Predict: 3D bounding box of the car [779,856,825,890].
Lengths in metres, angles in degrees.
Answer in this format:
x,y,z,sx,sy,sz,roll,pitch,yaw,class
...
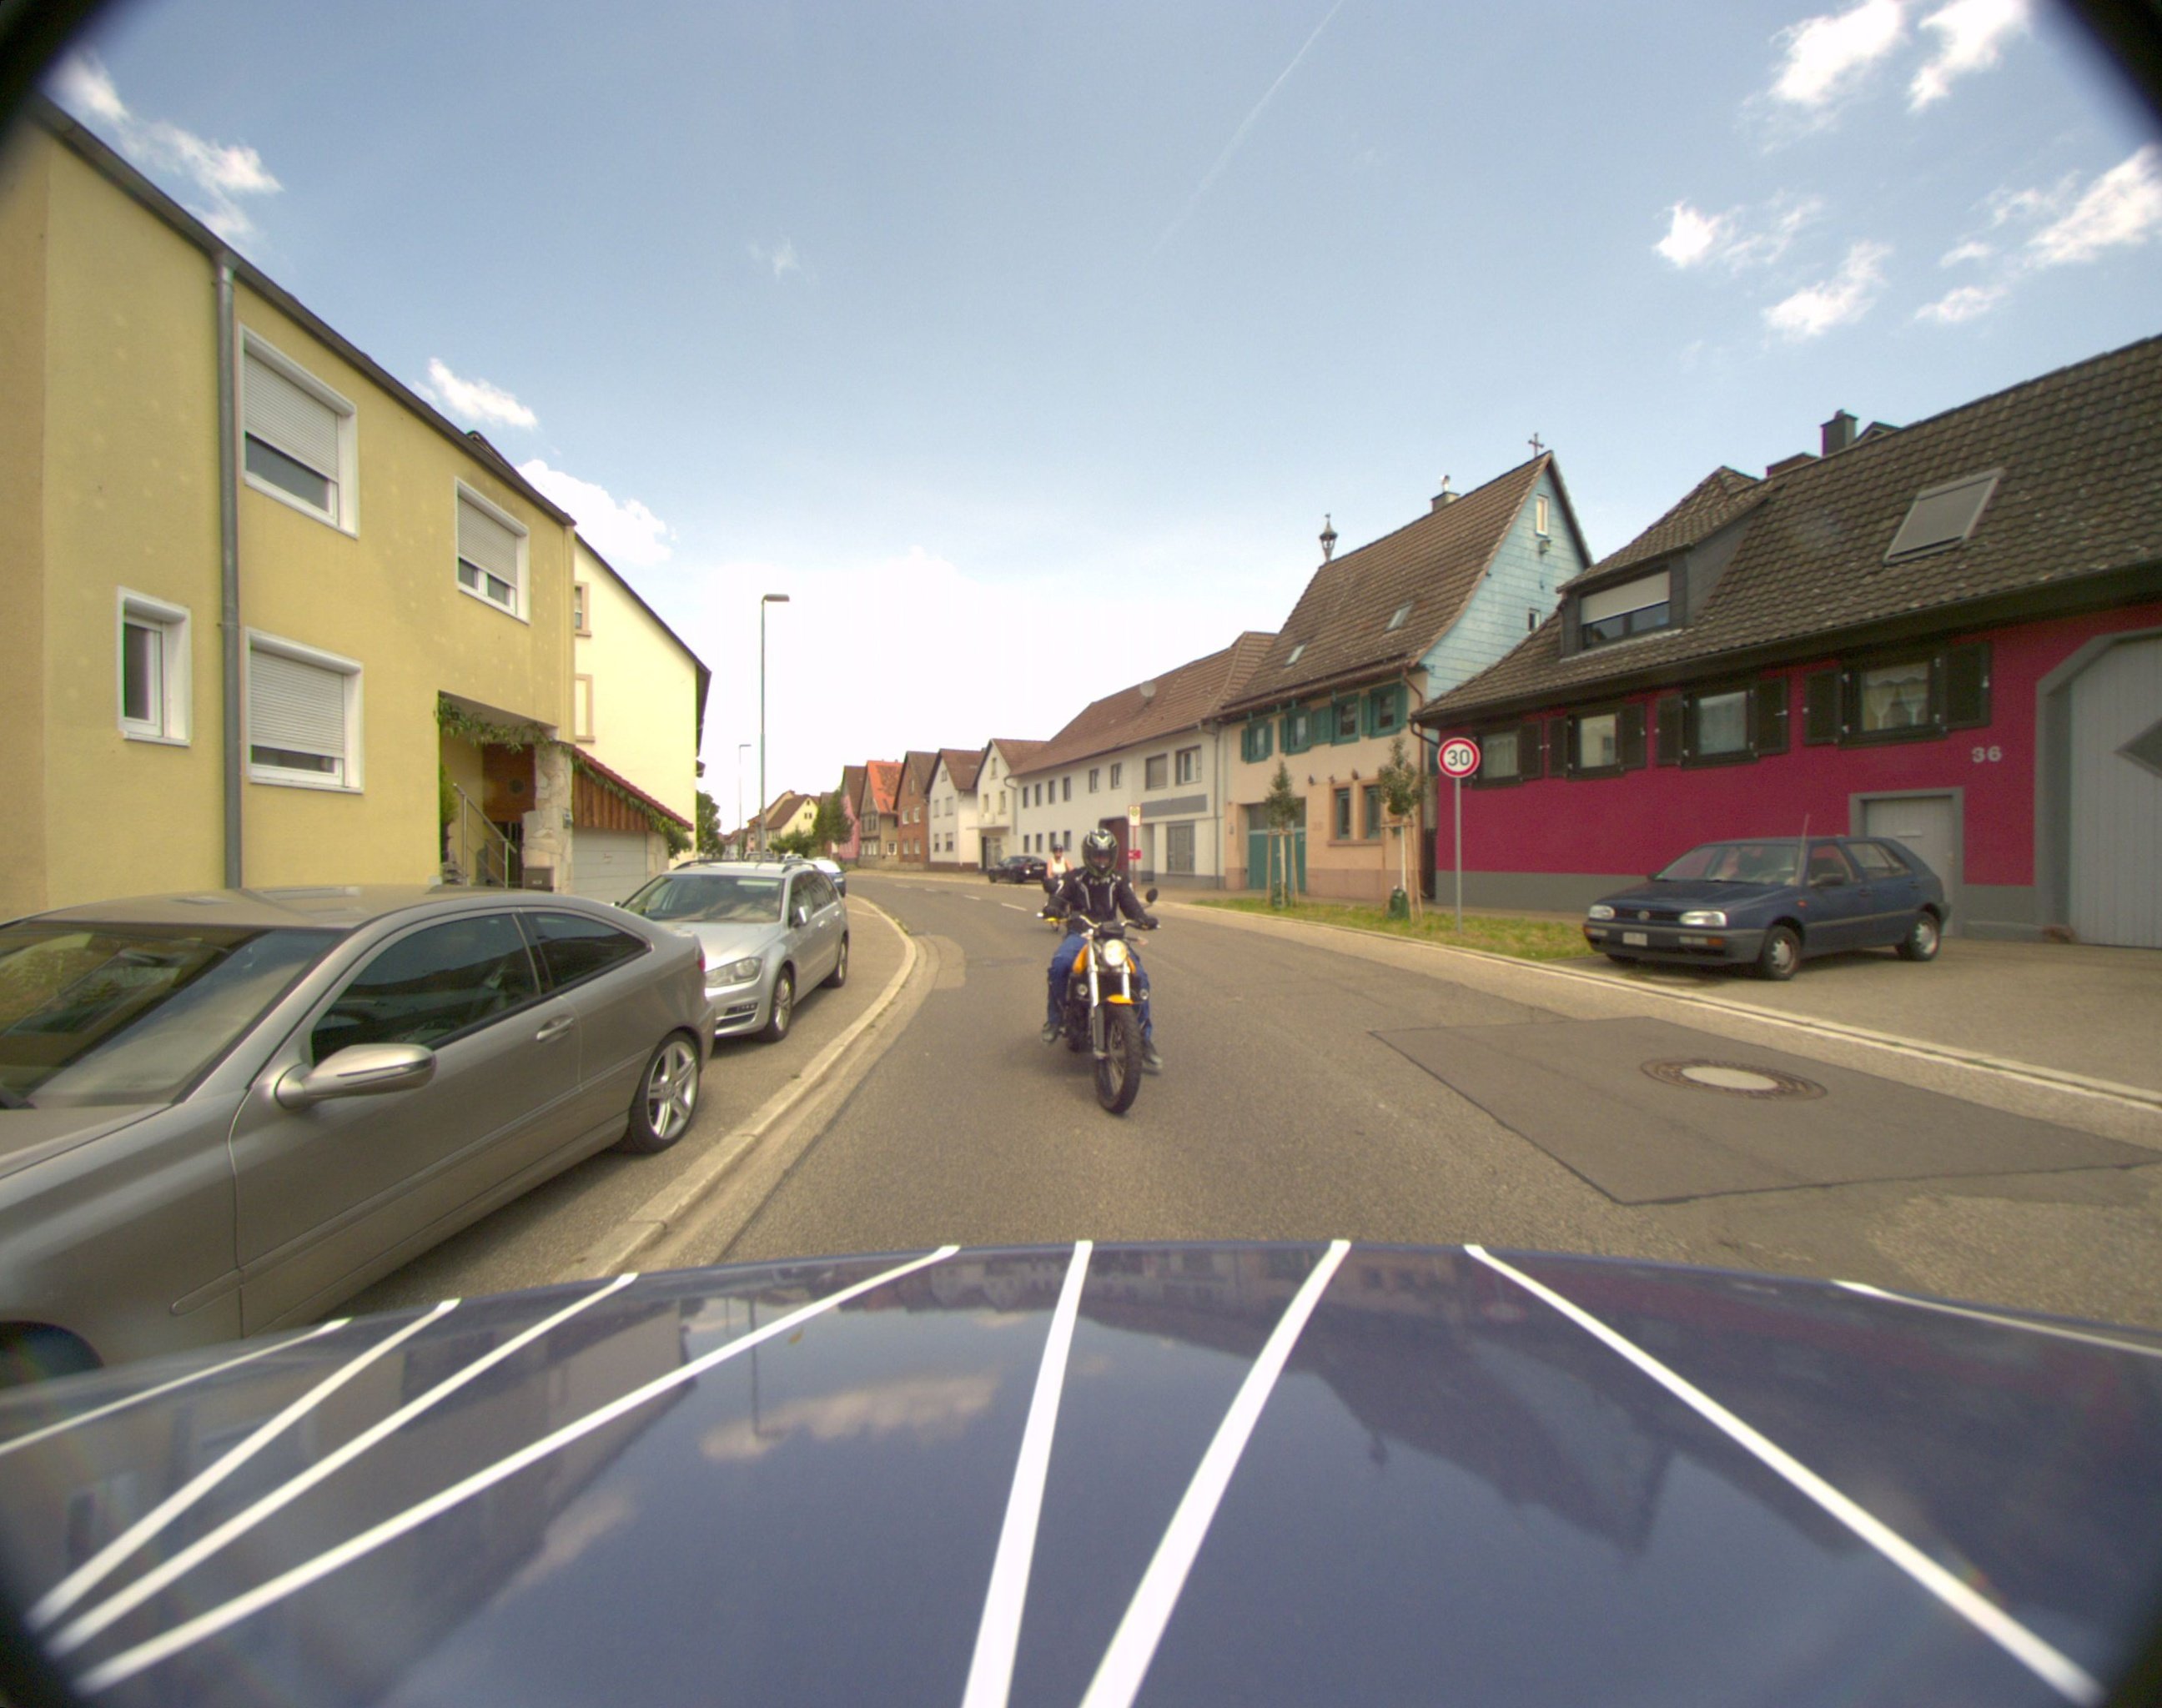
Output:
x,y,z,sx,sy,sz,roll,pitch,yaw,class
-13.797,0.945,37.420,1.776,1.520,3.993,-1,-1,-25,car

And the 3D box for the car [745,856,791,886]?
x,y,z,sx,sy,sz,roll,pitch,yaw,class
-19.010,1.005,46.034,1.669,1.638,3.989,-3,1,-35,car

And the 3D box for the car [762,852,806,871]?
x,y,z,sx,sy,sz,roll,pitch,yaw,class
-29.416,0.704,75.123,4.921,1.790,2.004,0,3,42,car

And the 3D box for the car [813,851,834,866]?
x,y,z,sx,sy,sz,roll,pitch,yaw,class
-27.474,0.456,81.061,1.687,1.521,3.491,-2,2,-26,car

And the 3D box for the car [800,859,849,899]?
x,y,z,sx,sy,sz,roll,pitch,yaw,class
-10.217,0.930,30.197,1.730,1.378,3.992,0,1,-20,car

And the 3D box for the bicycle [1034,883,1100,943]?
x,y,z,sx,sy,sz,roll,pitch,yaw,class
-0.307,1.106,14.747,0.934,1.005,1.923,-2,0,-11,bicycle

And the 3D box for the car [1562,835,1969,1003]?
x,y,z,sx,sy,sz,roll,pitch,yaw,class
7.643,0.580,8.513,3.983,1.456,1.718,-2,1,-20,car

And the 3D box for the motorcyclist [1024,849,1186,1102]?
x,y,z,sx,sy,sz,roll,pitch,yaw,class
0.162,0.779,5.265,1.000,1.591,0.799,-1,2,1,motorcyclist

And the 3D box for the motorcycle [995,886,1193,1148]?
x,y,z,sx,sy,sz,roll,pitch,yaw,class
0.083,0.907,5.047,0.985,1.234,2.103,-3,1,1,motorcycle

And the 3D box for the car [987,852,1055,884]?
x,y,z,sx,sy,sz,roll,pitch,yaw,class
-3.047,0.684,37.839,1.812,1.412,4.541,-2,0,-26,car

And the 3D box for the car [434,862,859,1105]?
x,y,z,sx,sy,sz,roll,pitch,yaw,class
-3.502,0.898,7.227,1.890,1.521,4.333,2,0,-6,car

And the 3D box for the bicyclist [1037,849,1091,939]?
x,y,z,sx,sy,sz,roll,pitch,yaw,class
-0.342,0.753,14.791,0.910,1.679,0.760,-2,2,-10,bicyclist

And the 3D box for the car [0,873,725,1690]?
x,y,z,sx,sy,sz,roll,pitch,yaw,class
-3.023,0.899,2.431,1.775,1.392,4.422,2,1,-2,car
